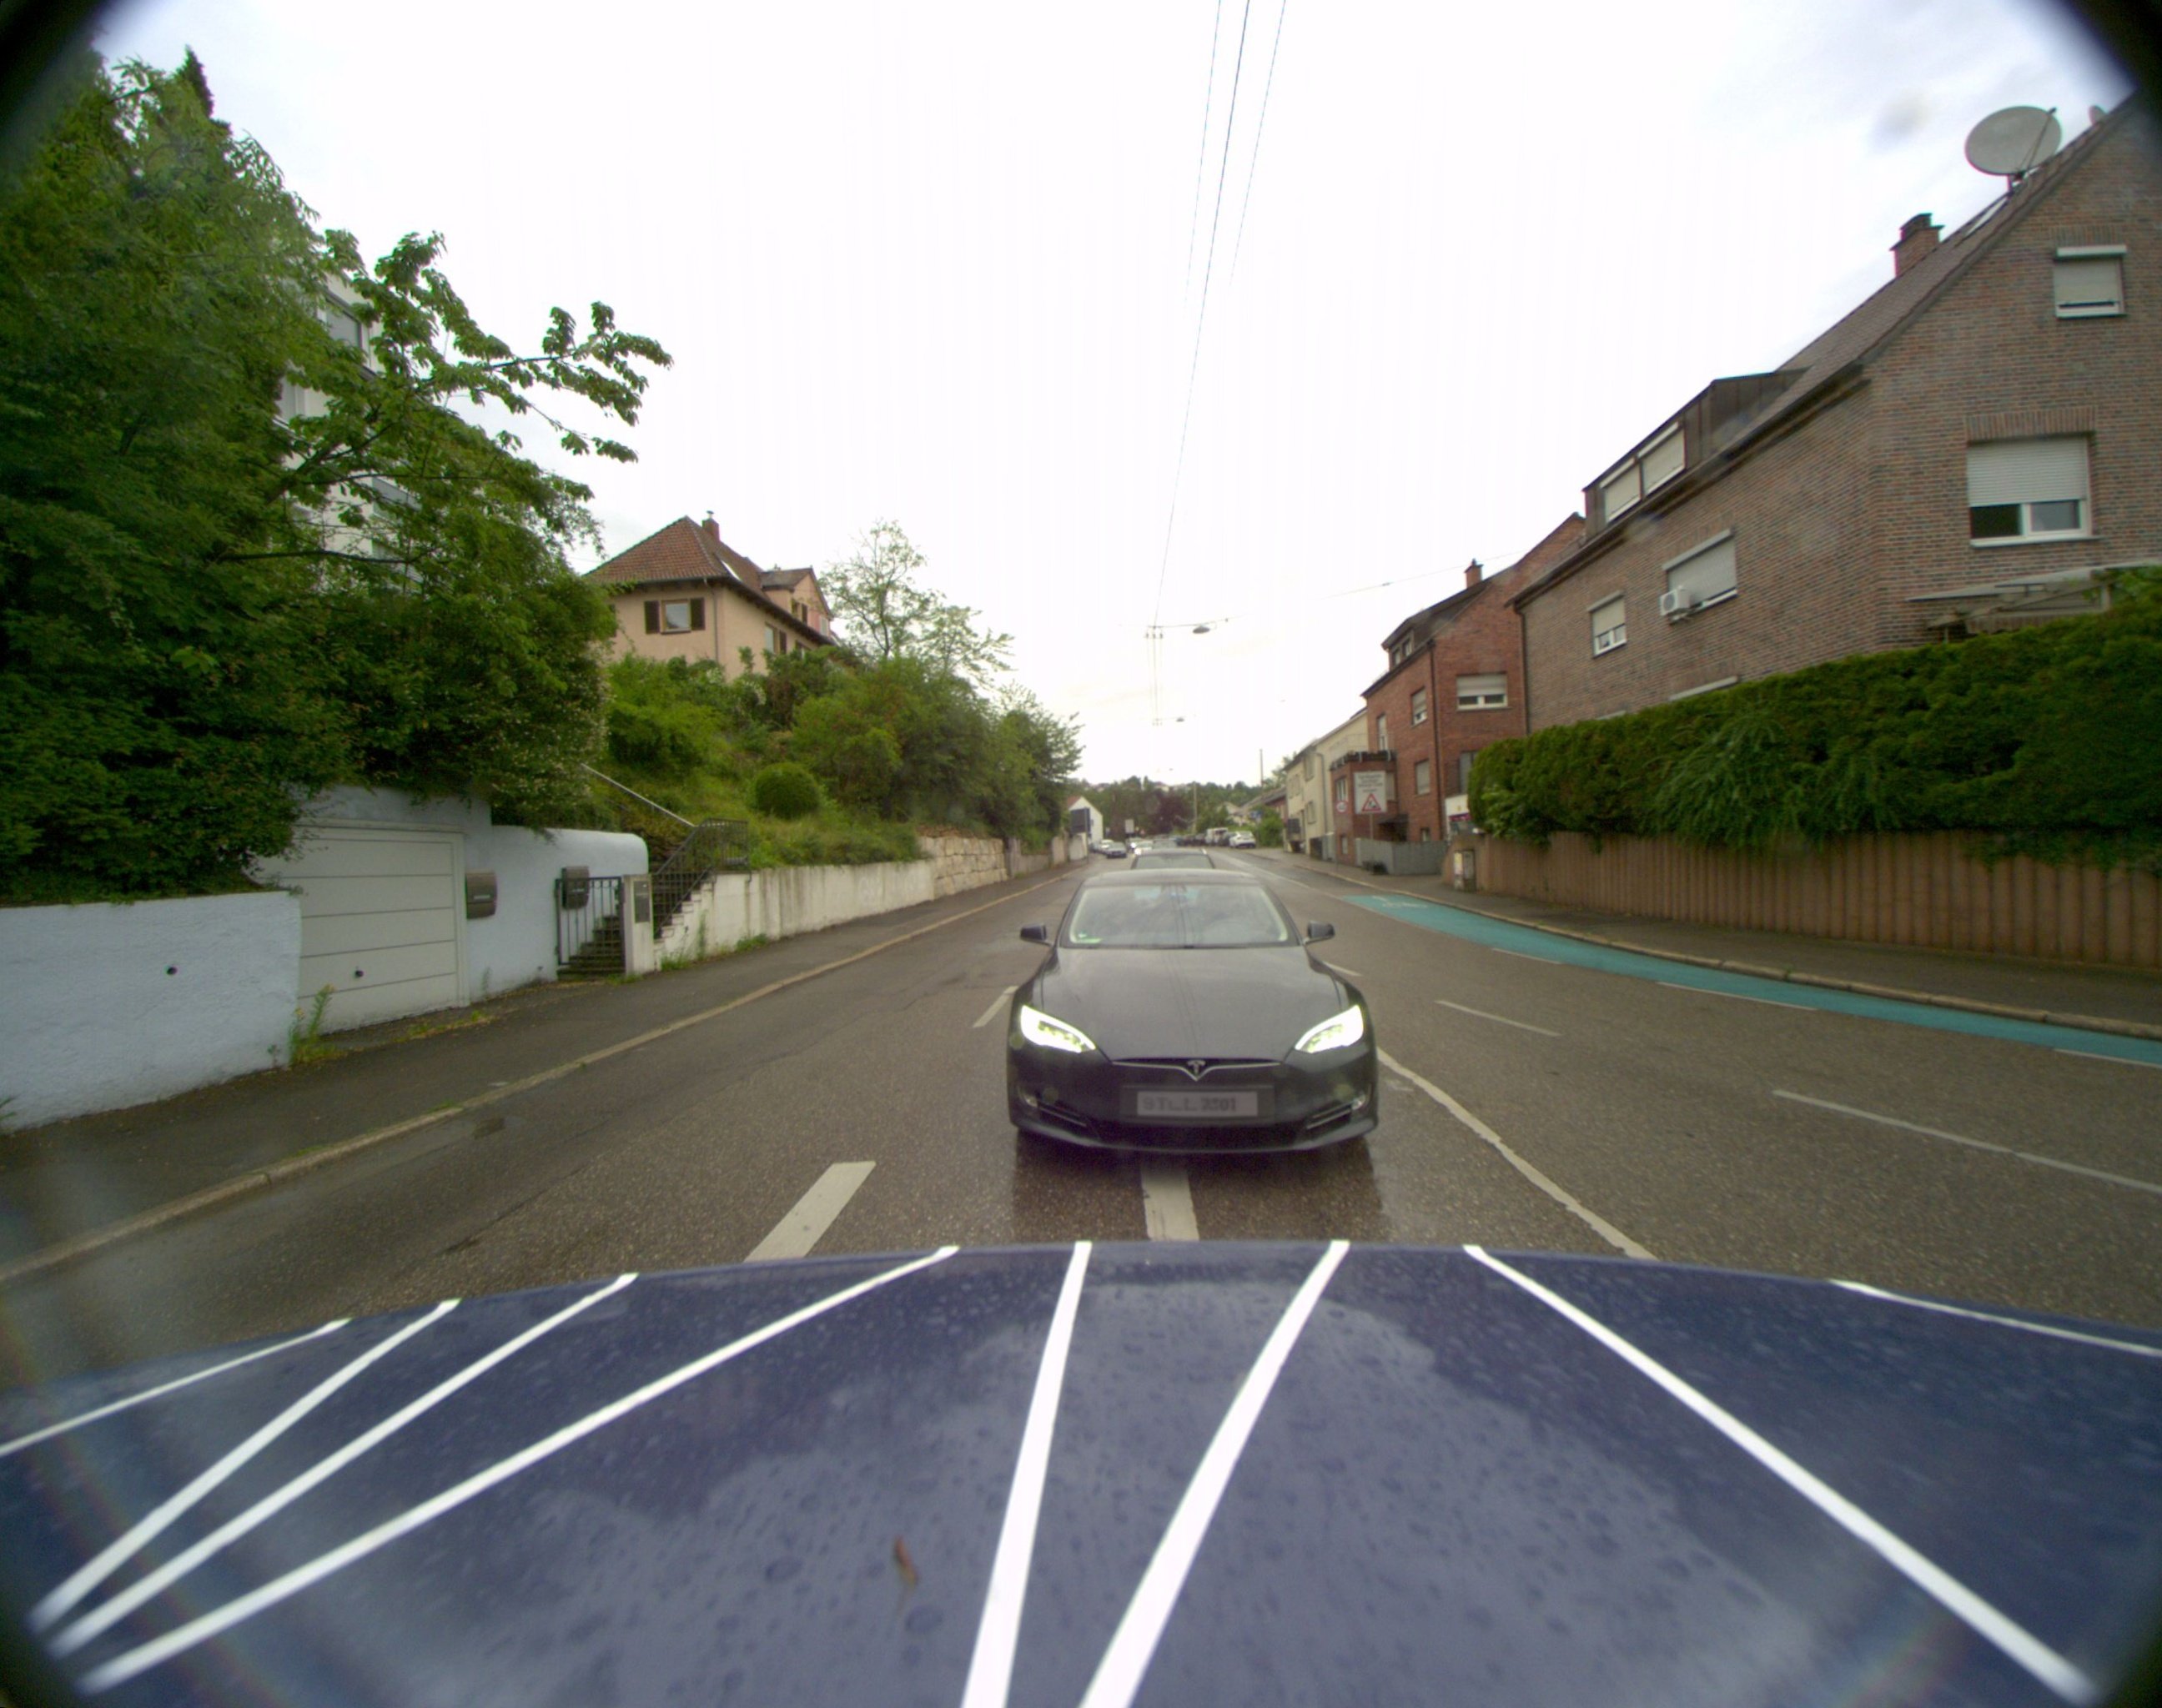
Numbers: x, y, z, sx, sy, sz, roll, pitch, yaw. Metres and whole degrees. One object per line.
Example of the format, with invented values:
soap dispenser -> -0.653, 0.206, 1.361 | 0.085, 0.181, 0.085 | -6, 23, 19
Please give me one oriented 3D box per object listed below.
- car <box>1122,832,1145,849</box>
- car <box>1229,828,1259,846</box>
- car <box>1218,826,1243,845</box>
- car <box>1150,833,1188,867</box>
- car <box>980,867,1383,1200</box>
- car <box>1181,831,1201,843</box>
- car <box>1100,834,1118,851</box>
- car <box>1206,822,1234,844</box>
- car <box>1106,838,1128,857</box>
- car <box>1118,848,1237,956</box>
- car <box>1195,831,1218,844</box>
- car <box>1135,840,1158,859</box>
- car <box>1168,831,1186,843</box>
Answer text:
car -> 6.191, -1.565, 90.111 | 2.000, 1.875, 3.997 | -2, 1, -6
car -> 15.407, -1.580, 71.990 | 1.946, 1.557, 4.263 | -4, 1, 2
car -> 15.781, -1.934, 80.137 | 1.814, 1.793, 4.263 | -4, 1, 2
car -> 4.811, -0.172, 42.052 | 1.816, 1.720, 4.002 | -2, -1, 4
car -> 0.620, 0.905, 5.612 | 1.870, 1.407, 4.000 | -2, 1, 4
car -> 14.084, -2.149, 97.391 | 1.654, 1.388, 3.859 | -4, 1, -4
car -> 3.246, -1.361, 89.218 | 1.820, 1.855, 4.038 | -2, 2, -1
car -> 15.674, -2.365, 86.167 | 2.257, 2.273, 4.546 | -4, 1, 0
car -> 3.518, -0.597, 73.216 | 2.002, 1.596, 4.360 | -2, -1, 4
car -> 1.631, 0.731, 13.629 | 1.789, 1.580, 3.784 | -2, 1, 4
car -> 15.076, -1.982, 91.537 | 1.654, 1.482, 4.009 | -4, 1, -6
car -> 5.431, -0.373, 63.390 | 1.737, 1.493, 3.883 | -2, -1, 4
car -> 12.939, -2.235, 102.777 | 1.624, 1.482, 3.901 | -4, 1, -4
